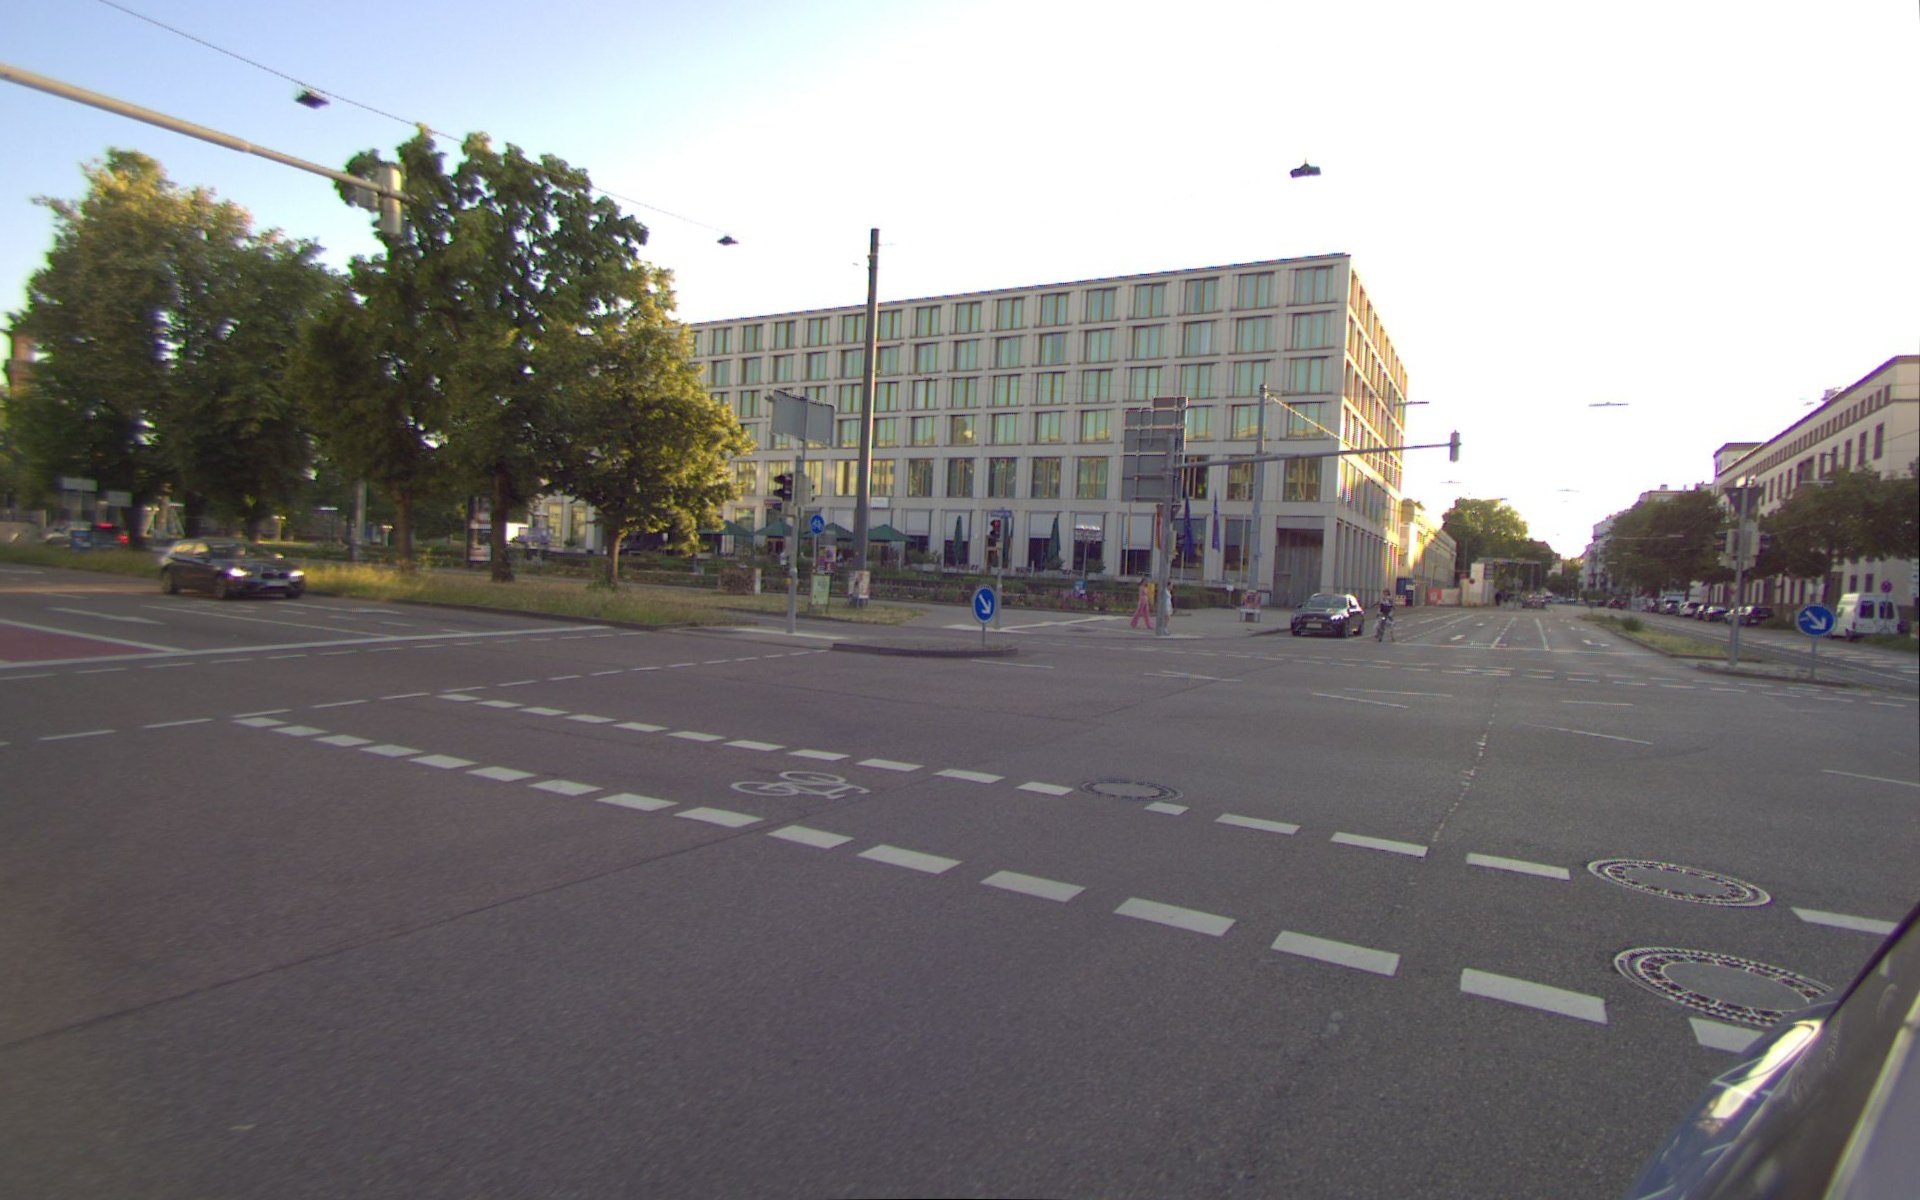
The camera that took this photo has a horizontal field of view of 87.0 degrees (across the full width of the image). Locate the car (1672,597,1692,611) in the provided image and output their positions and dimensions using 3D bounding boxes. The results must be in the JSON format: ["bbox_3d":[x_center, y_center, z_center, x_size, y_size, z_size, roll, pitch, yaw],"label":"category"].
[{"bbox_3d":[86.591,0.427,121.356,1.712,1.505,3.763,4,3,34],"label":"car"}]

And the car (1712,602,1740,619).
[{"bbox_3d":[69.958,0.948,92.438,1.711,1.448,3.764,3,2,33],"label":"car"}]

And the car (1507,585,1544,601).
[{"bbox_3d":[68.496,-0.852,122.662,3.778,1.669,1.844,4,2,30],"label":"car"}]

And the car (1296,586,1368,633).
[{"bbox_3d":[13.241,0.287,35.880,1.800,1.542,4.764,1,1,27],"label":"car"}]

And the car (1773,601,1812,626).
[{"bbox_3d":[60.573,0.961,73.677,1.712,1.725,3.763,4,2,34],"label":"car"}]

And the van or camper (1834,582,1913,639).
[{"bbox_3d":[47.596,0.510,52.837,2.096,2.714,4.657,3,2,31],"label":"van or camper"}]

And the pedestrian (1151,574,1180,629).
[{"bbox_3d":[6.428,0.044,31.605,0.528,1.646,0.626,1,2,-42],"label":"pedestrian"}]

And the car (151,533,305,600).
[{"bbox_3d":[-18.248,-0.846,25.183,4.143,1.438,1.679,4,2,32],"label":"car"}]

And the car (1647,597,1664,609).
[{"bbox_3d":[95.671,0.407,139.242,1.711,1.448,3.764,3,2,33],"label":"car"}]

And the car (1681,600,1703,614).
[{"bbox_3d":[79.033,0.729,109.314,1.711,1.448,3.764,3,2,33],"label":"car"}]

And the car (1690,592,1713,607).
[{"bbox_3d":[79.683,-0.051,108.766,1.712,1.505,3.763,4,3,34],"label":"car"}]

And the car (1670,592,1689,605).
[{"bbox_3d":[89.849,-0.206,126.428,1.711,1.448,3.764,3,2,33],"label":"car"}]

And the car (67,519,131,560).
[{"bbox_3d":[-39.354,-2.760,46.241,4.076,1.625,1.671,3,-3,43],"label":"car"}]

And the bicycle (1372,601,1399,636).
[{"bbox_3d":[13.681,0.582,32.535,0.536,1.064,1.742,3,2,30],"label":"bicycle"}]

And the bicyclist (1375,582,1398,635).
[{"bbox_3d":[13.732,0.257,32.588,0.537,1.656,0.590,3,2,30],"label":"bicyclist"}]

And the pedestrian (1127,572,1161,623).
[{"bbox_3d":[6.028,-0.087,33.188,0.711,1.646,0.740,2,1,-28],"label":"pedestrian"}]
